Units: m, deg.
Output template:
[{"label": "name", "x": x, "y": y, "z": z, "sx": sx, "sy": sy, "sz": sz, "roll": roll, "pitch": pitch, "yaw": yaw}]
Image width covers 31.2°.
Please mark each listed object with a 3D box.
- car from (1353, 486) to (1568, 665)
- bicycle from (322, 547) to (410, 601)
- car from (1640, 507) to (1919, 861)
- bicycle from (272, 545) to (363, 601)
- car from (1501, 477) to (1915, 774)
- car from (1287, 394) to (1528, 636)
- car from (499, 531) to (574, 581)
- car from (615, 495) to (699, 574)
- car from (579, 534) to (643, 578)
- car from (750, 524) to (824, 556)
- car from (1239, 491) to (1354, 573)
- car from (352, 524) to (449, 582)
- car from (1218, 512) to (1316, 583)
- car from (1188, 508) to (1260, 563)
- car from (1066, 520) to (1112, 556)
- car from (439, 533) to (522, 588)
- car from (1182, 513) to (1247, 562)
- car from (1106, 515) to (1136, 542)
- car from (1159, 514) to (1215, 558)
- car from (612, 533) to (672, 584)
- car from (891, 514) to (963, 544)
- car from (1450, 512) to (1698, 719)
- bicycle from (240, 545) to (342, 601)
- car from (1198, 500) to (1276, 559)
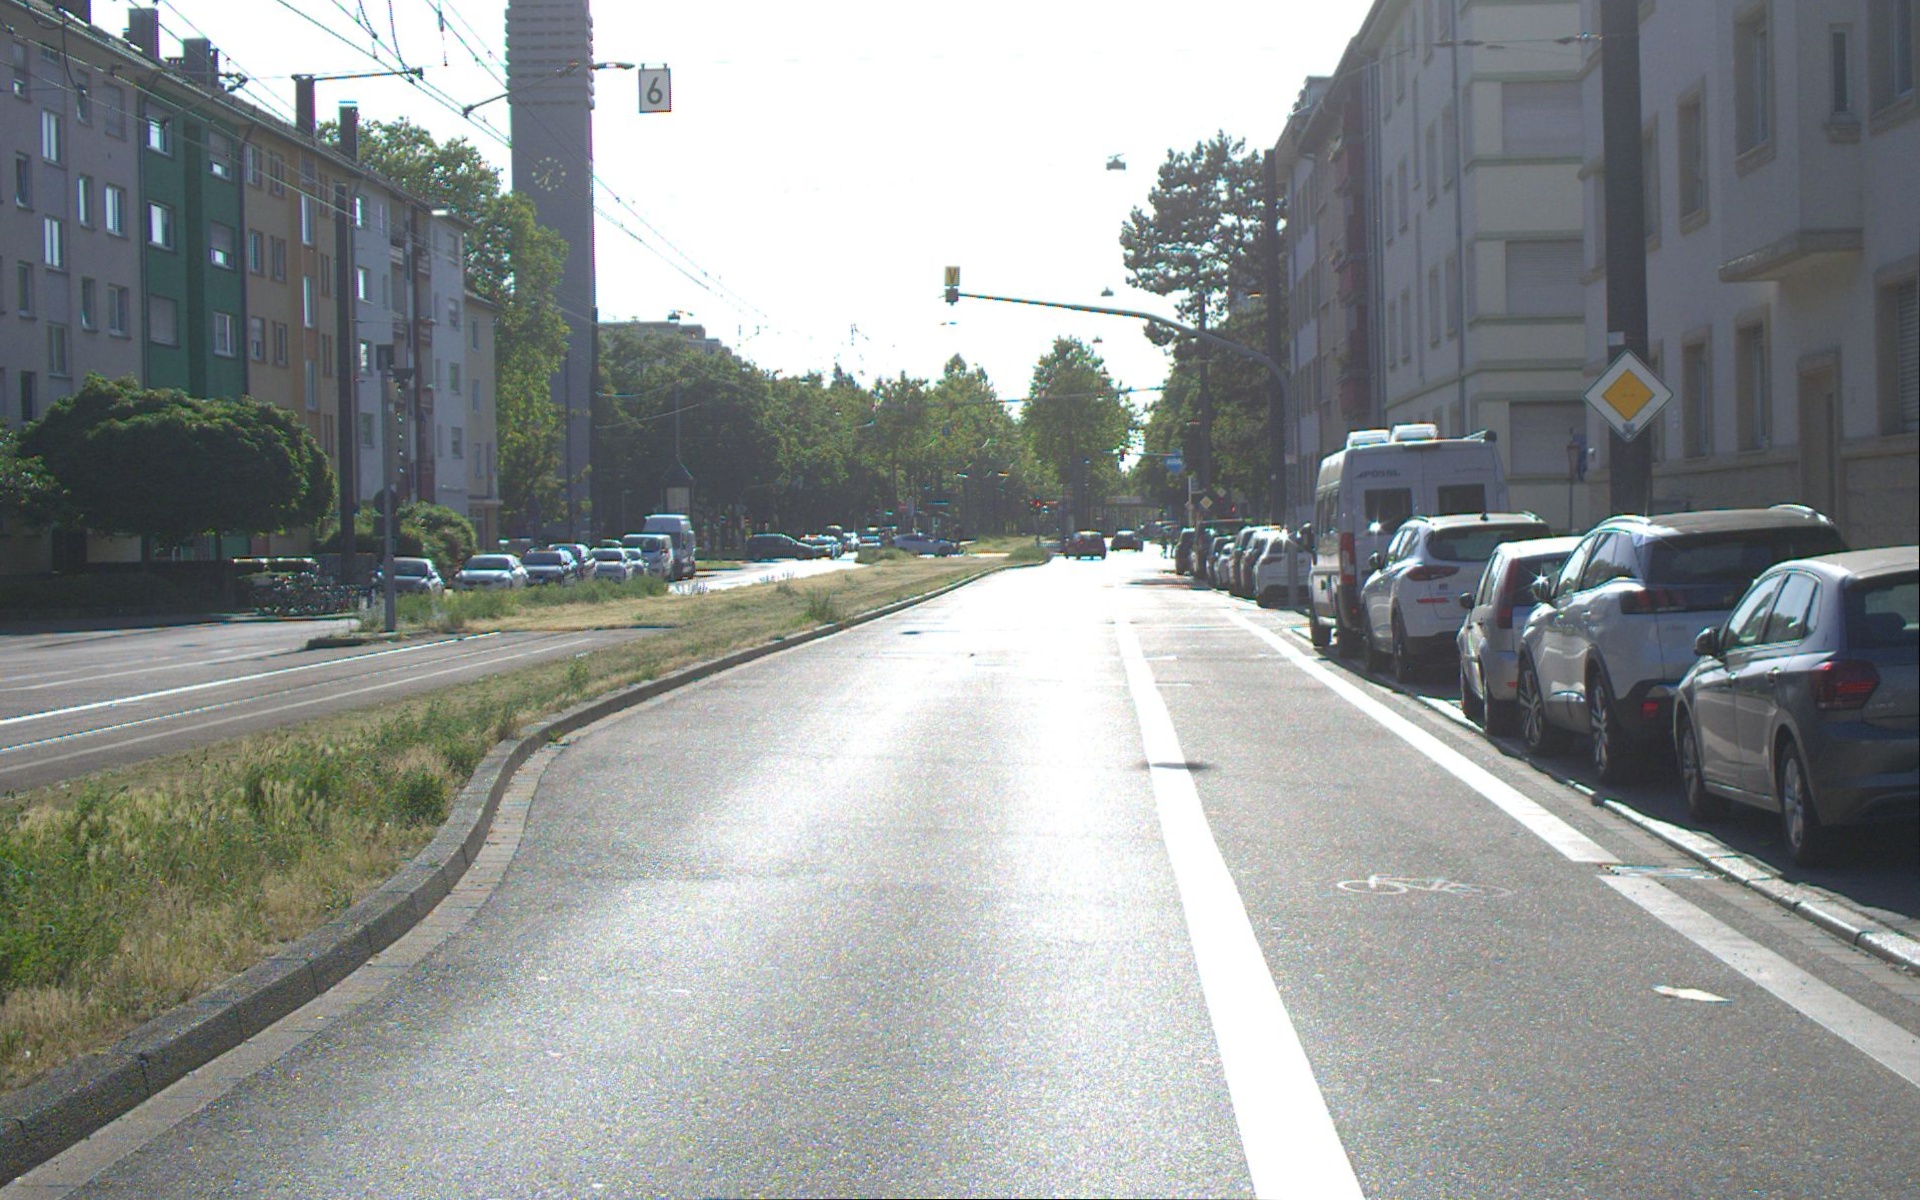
[{"label": "car", "x": 5.069, "y": -0.288, "z": 35.227, "sx": 1.590, "sy": 1.629, "sz": 3.918, "roll": -4, "pitch": 1, "yaw": 1}, {"label": "bicycle", "x": -15.307, "y": -0.664, "z": 88.556, "sx": 2.127, "sy": 1.320, "sz": 0.897, "roll": -2, "pitch": -1, "yaw": -15}, {"label": "car", "x": 4.683, "y": 0.309, "z": 17.187, "sx": 1.773, "sy": 1.466, "sz": 4.094, "roll": -4, "pitch": 1, "yaw": 2}, {"label": "bicycle", "x": -16.112, "y": -0.679, "z": 86.230, "sx": 2.127, "sy": 1.320, "sz": 0.897, "roll": -2, "pitch": -1, "yaw": -3}, {"label": "car", "x": 4.715, "y": 0.096, "z": 22.238, "sx": 1.661, "sy": 1.638, "sz": 4.185, "roll": -4, "pitch": 1, "yaw": 0}, {"label": "car", "x": 5.414, "y": -1.049, "z": 42.381, "sx": 2.158, "sy": 2.642, "sz": 5.643, "roll": -4, "pitch": 1, "yaw": 1}, {"label": "car", "x": -14.503, "y": -1.498, "z": 117.906, "sx": 1.993, "sy": 1.548, "sz": 4.000, "roll": -2, "pitch": -1, "yaw": 0}, {"label": "car", "x": -13.461, "y": -2.884, "z": 153.104, "sx": 2.985, "sy": 3.227, "sz": 6.793, "roll": -2, "pitch": -1, "yaw": 0}, {"label": "car", "x": -13.450, "y": -1.673, "z": 132.633, "sx": 1.993, "sy": 1.548, "sz": 4.000, "roll": -2, "pitch": -1, "yaw": 0}, {"label": "car", "x": -10.651, "y": -3.660, "z": 211.274, "sx": 4.303, "sy": 1.777, "sz": 2.000, "roll": -2, "pitch": -1, "yaw": 3}, {"label": "car", "x": 6.718, "y": -1.339, "z": 68.996, "sx": 1.897, "sy": 1.482, "sz": 3.739, "roll": -2, "pitch": -1, "yaw": 0}, {"label": "car", "x": -15.400, "y": -1.272, "z": 94.777, "sx": 1.993, "sy": 1.448, "sz": 4.000, "roll": -2, "pitch": -1, "yaw": 0}, {"label": "car", "x": 7.070, "y": -1.202, "z": 79.561, "sx": 1.897, "sy": 1.482, "sz": 3.739, "roll": -2, "pitch": -1, "yaw": 0}, {"label": "car", "x": 7.928, "y": -1.922, "z": 103.574, "sx": 1.897, "sy": 1.482, "sz": 3.739, "roll": -2, "pitch": -1, "yaw": 1}, {"label": "car", "x": 7.003, "y": -3.351, "z": 186.415, "sx": 1.993, "sy": 1.777, "sz": 4.000, "roll": -2, "pitch": -1, "yaw": -5}, {"label": "car", "x": -14.985, "y": -1.212, "z": 107.595, "sx": 1.993, "sy": 1.576, "sz": 4.000, "roll": -2, "pitch": -1, "yaw": 0}, {"label": "car", "x": 8.440, "y": -2.064, "z": 114.223, "sx": 1.897, "sy": 1.482, "sz": 3.739, "roll": -2, "pitch": -1, "yaw": 1}, {"label": "car", "x": 10.797, "y": -4.789, "z": 230.652, "sx": 1.843, "sy": 1.681, "sz": 4.000, "roll": -2, "pitch": -1, "yaw": 2}, {"label": "car", "x": 8.521, "y": -2.387, "z": 129.522, "sx": 1.897, "sy": 1.482, "sz": 3.739, "roll": -2, "pitch": -1, "yaw": 1}, {"label": "car", "x": -13.326, "y": -1.731, "z": 144.273, "sx": 1.993, "sy": 1.958, "sz": 4.751, "roll": -2, "pitch": -1, "yaw": 0}, {"label": "car", "x": -2.043, "y": -4.408, "z": 212.930, "sx": 3.986, "sy": 1.678, "sz": 2.000, "roll": -2, "pitch": -1, "yaw": -15}, {"label": "car", "x": 4.764, "y": 0.070, "z": 27.029, "sx": 1.502, "sy": 1.421, "sz": 3.453, "roll": -4, "pitch": 1, "yaw": 5}, {"label": "bicycle", "x": -16.433, "y": -0.662, "z": 84.444, "sx": 2.308, "sy": 1.300, "sz": 0.913, "roll": -2, "pitch": -1, "yaw": -1}, {"label": "car", "x": 7.689, "y": -1.946, "z": 95.747, "sx": 1.897, "sy": 1.482, "sz": 3.739, "roll": -2, "pitch": -1, "yaw": 1}]
